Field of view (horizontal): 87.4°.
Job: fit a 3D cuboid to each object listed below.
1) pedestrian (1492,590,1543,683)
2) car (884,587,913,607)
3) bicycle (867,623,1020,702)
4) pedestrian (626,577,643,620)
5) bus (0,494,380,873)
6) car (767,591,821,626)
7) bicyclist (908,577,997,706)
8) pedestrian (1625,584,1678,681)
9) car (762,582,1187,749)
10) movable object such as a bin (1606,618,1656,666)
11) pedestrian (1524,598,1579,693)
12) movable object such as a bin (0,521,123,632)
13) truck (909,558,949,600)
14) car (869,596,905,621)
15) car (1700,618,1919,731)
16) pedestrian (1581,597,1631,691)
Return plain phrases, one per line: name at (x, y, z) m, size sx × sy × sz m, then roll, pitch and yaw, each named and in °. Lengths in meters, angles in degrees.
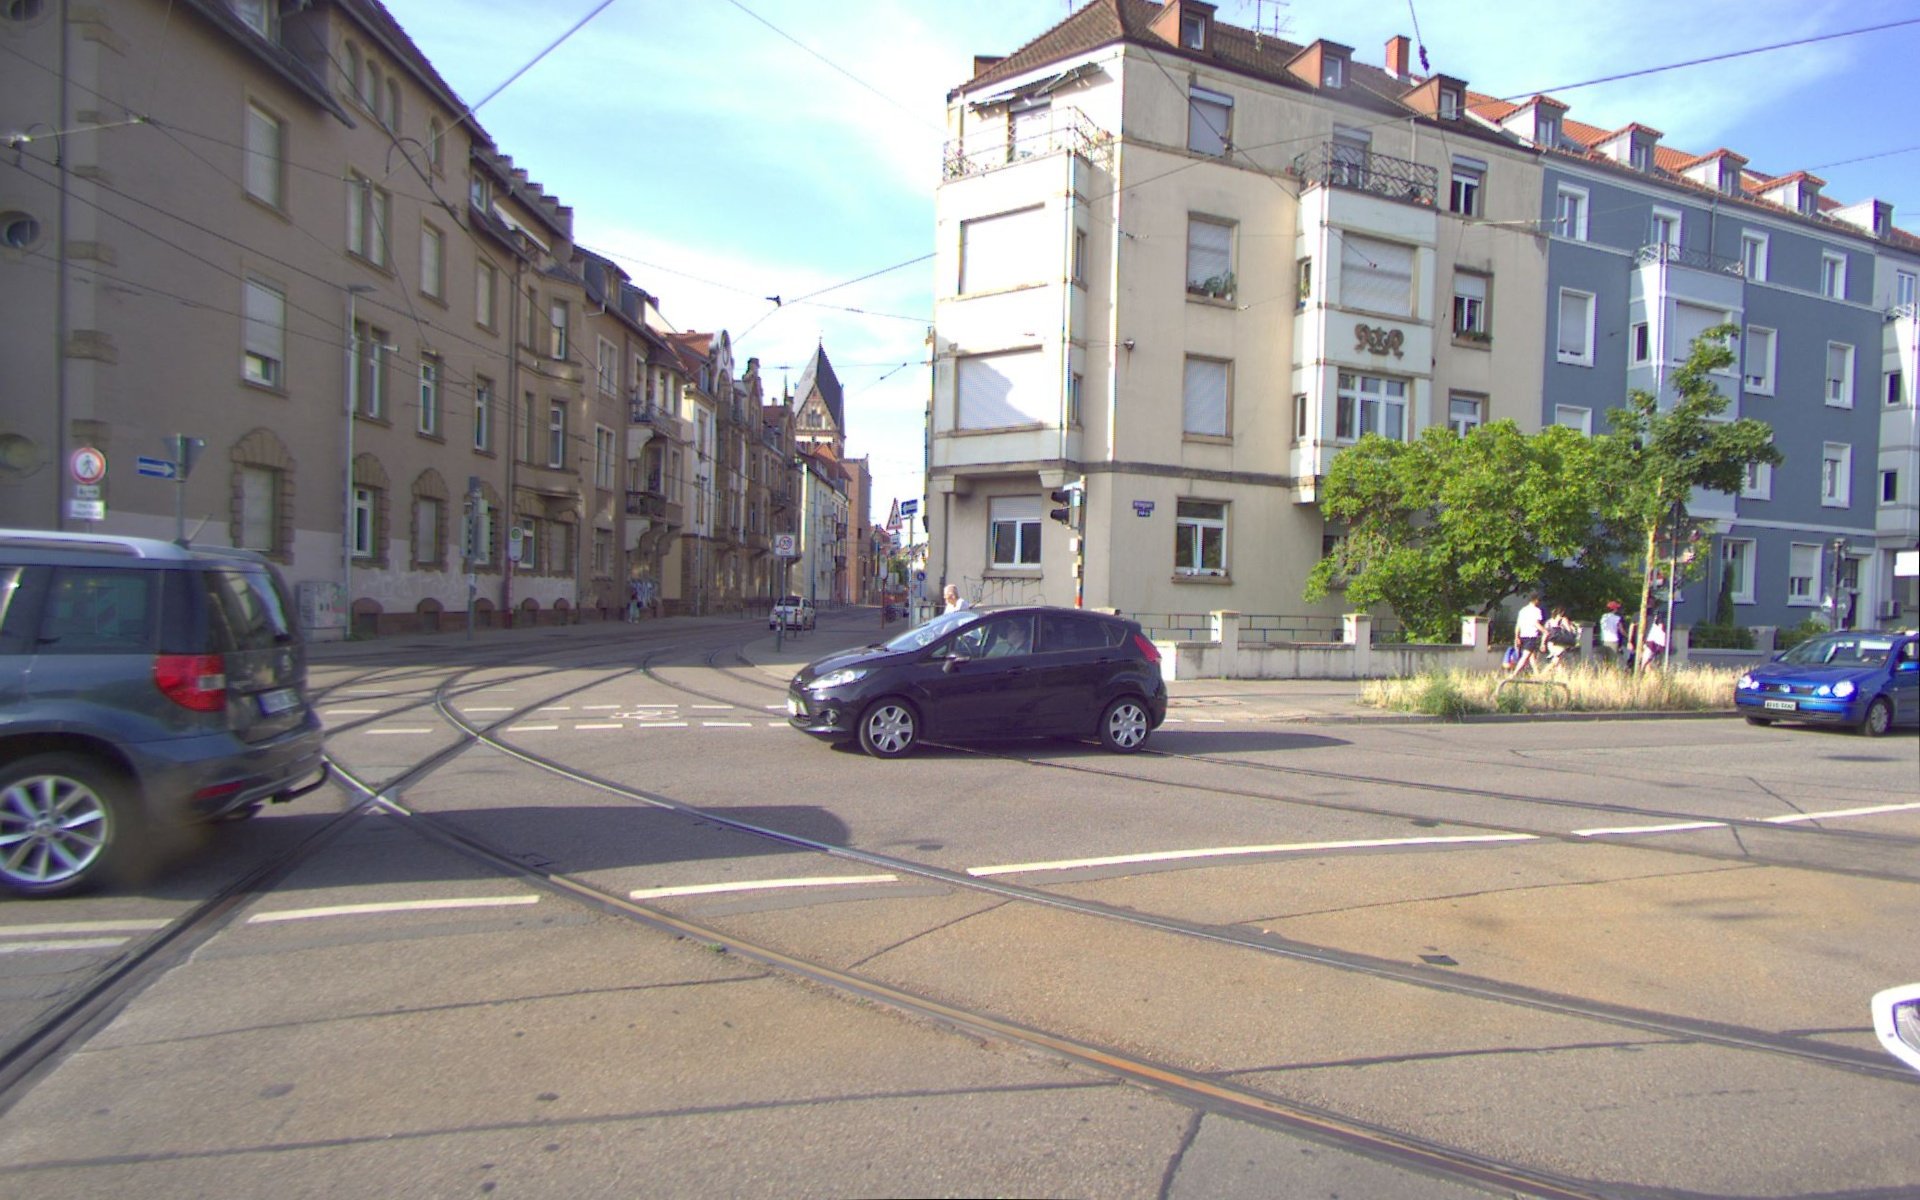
pedestrian at (11.684, 0.757, 21.053) m, size 0.618 × 1.906 × 0.657 m, roll 1°, pitch 1°, yaw -23°
car at (-4.596, -0.234, 75.952) m, size 1.764 × 1.476 × 4.001 m, roll 1°, pitch 0°, yaw 2°
bicycle at (-0.235, 0.835, 13.696) m, size 1.995 × 0.978 × 0.771 m, roll 2°, pitch 1°, yaw -3°
pedestrian at (-14.224, -0.059, 43.837) m, size 0.536 × 1.847 × 0.477 m, roll 2°, pitch 1°, yaw 1°
bus at (-5.430, 0.325, 4.961) m, size 4.093 × 1.658 × 1.843 m, roll 2°, pitch 1°, yaw -18°
car at (-7.609, 0.359, 46.292) m, size 1.764 × 1.476 × 4.000 m, roll 1°, pitch 0°, yaw 0°
bicyclist at (-0.116, 0.547, 13.699) m, size 1.144 × 1.690 × 0.762 m, roll 1°, pitch 1°, yaw -3°
pedestrian at (13.844, 0.644, 20.115) m, size 0.617 × 1.906 × 0.583 m, roll 1°, pitch 1°, yaw -22°
car at (0.133, 0.625, 10.178) m, size 3.941 × 1.439 × 1.686 m, roll 2°, pitch 0°, yaw -21°
movable object such as a bin at (14.154, 0.882, 21.193) m, size 0.652 × 0.959 × 0.583 m, roll 2°, pitch 1°, yaw -17°
pedestrian at (11.976, 0.911, 20.349) m, size 0.640 × 1.873 × 0.673 m, roll 1°, pitch 1°, yaw -19°
movable object such as a bin at (-14.875, -0.368, 16.018) m, size 0.259 × 1.732 × 2.377 m, roll 2°, pitch 1°, yaw 32°
truck at (-2.928, -1.962, 98.058) m, size 3.192 × 3.778 × 9.924 m, roll 2°, pitch 1°, yaw 1°
car at (-4.424, 0.492, 61.554) m, size 1.764 × 1.476 × 4.001 m, roll 1°, pitch 0°, yaw 2°
car at (13.189, 1.049, 14.992) m, size 3.943 × 1.460 × 1.685 m, roll 1°, pitch 1°, yaw -23°
pedestrian at (13.466, 0.909, 20.948) m, size 0.618 × 1.906 × 0.583 m, roll 1°, pitch 1°, yaw -23°
